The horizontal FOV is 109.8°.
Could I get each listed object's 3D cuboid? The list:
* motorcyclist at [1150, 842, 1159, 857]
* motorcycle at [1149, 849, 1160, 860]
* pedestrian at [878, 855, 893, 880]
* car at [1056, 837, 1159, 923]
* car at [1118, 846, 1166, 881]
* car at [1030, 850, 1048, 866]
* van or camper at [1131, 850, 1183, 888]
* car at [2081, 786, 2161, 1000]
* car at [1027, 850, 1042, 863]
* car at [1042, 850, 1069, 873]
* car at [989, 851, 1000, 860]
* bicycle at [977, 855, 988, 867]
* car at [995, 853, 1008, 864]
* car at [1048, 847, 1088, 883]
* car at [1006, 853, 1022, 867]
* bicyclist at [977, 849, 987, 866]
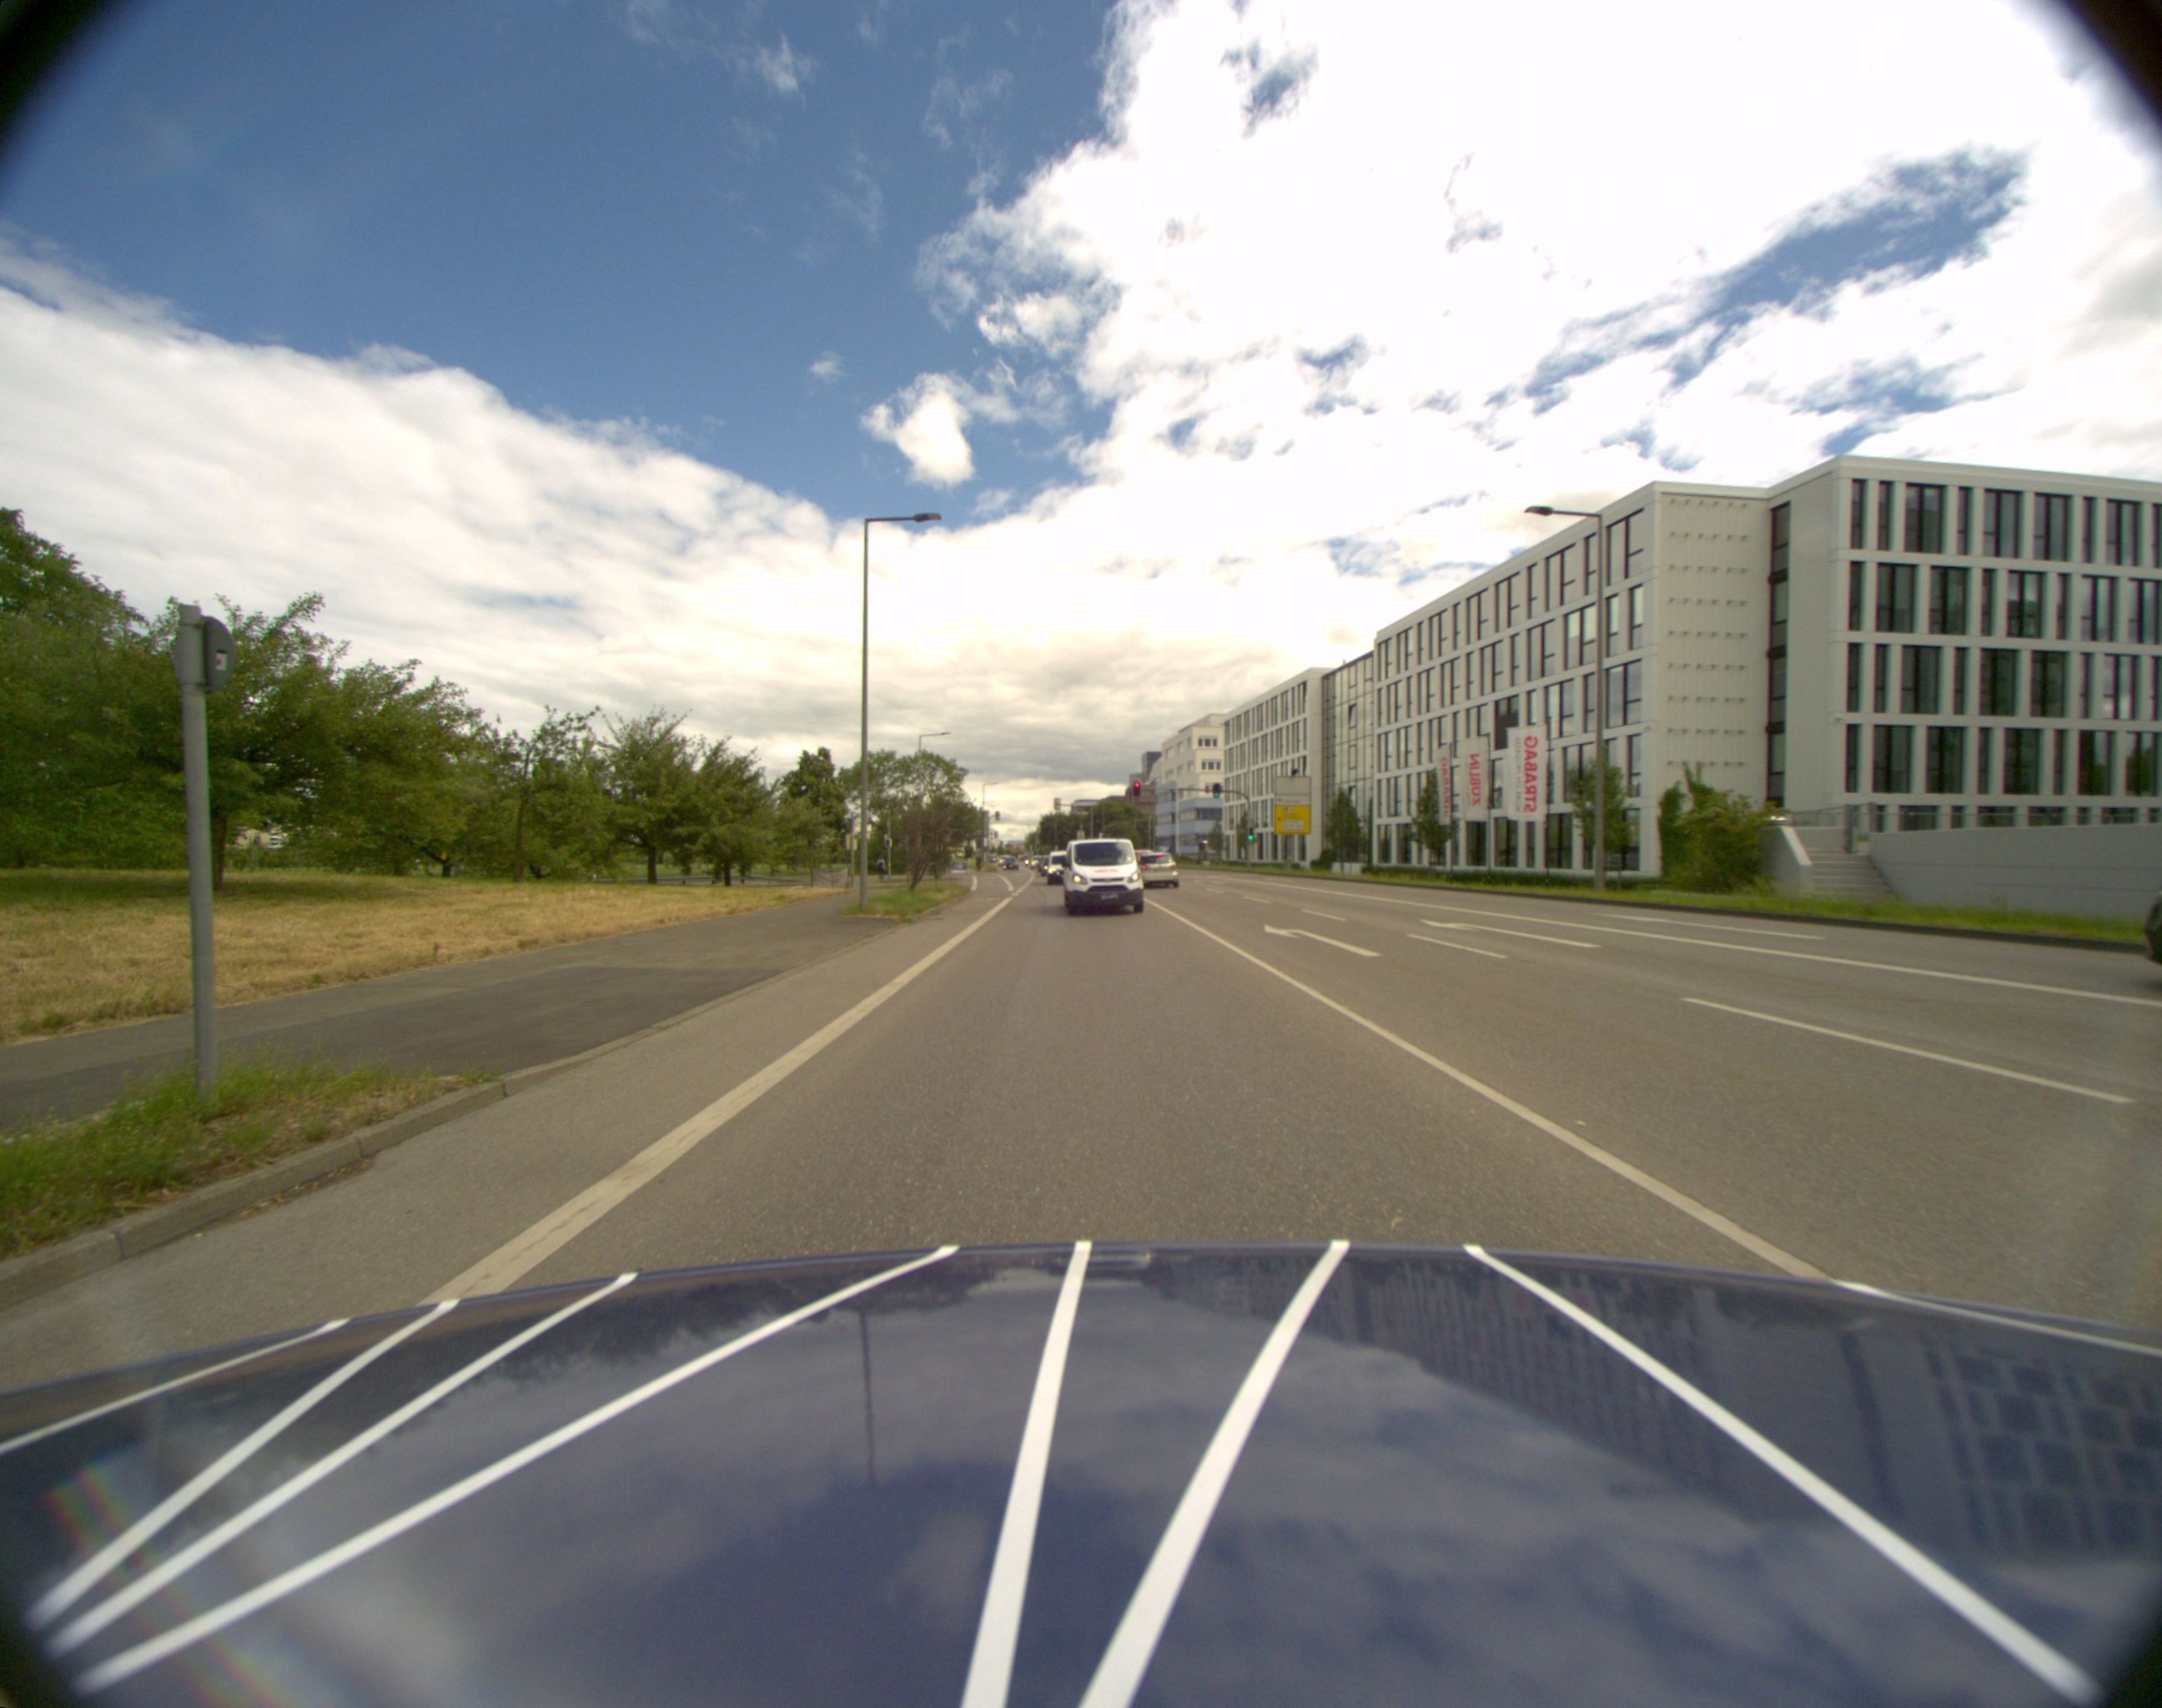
[{"bbox_3d":[7.293,-0.461,75.704,0.656,1.501,0.917,-2,1,-7],"label":"motorcyclist"},{"bbox_3d":[7.299,0.073,75.736,0.656,1.106,1.933,-2,0,-7],"label":"motorcycle"},{"bbox_3d":[-15.028,1.044,58.409,0.764,1.872,0.801,-1,1,14],"label":"pedestrian"},{"bbox_3d":[0.519,0.601,20.855,2.123,1.963,6.204,-2,0,-4],"label":"car"},{"bbox_3d":[3.216,0.478,40.760,1.873,1.685,4.369,-2,0,-4],"label":"car"},{"bbox_3d":[-4.759,0.419,86.004,1.873,1.685,4.369,-2,0,-4],"label":"car"},{"bbox_3d":[3.392,0.632,34.468,1.748,1.600,4.044,-2,0,-2],"label":"van or camper"},{"bbox_3d":[10.779,0.340,4.747,2.023,1.936,5.364,-1,0,0],"label":"car"},{"bbox_3d":[-6.596,0.337,107.834,1.873,1.685,4.369,-2,0,-6],"label":"car"},{"bbox_3d":[-1.989,0.572,58.562,1.873,1.685,4.369,-2,0,-4],"label":"car"},{"bbox_3d":[-16.928,0.273,148.543,1.874,1.685,4.367,-2,0,-10],"label":"car"},{"bbox_3d":[-10.057,0.720,77.516,1.017,1.127,2.673,0,0,-9],"label":"bicycle"},{"bbox_3d":[-11.274,0.649,107.955,1.736,1.432,4.366,-2,0,-4],"label":"car"},{"bbox_3d":[-0.773,0.576,41.698,1.873,1.836,4.369,-2,0,-4],"label":"car"},{"bbox_3d":[-7.433,0.687,84.362,1.736,1.432,4.366,-2,0,-4],"label":"car"},{"bbox_3d":[-10.085,0.319,77.584,1.017,1.698,1.200,0,1,-9],"label":"bicyclist"}]
